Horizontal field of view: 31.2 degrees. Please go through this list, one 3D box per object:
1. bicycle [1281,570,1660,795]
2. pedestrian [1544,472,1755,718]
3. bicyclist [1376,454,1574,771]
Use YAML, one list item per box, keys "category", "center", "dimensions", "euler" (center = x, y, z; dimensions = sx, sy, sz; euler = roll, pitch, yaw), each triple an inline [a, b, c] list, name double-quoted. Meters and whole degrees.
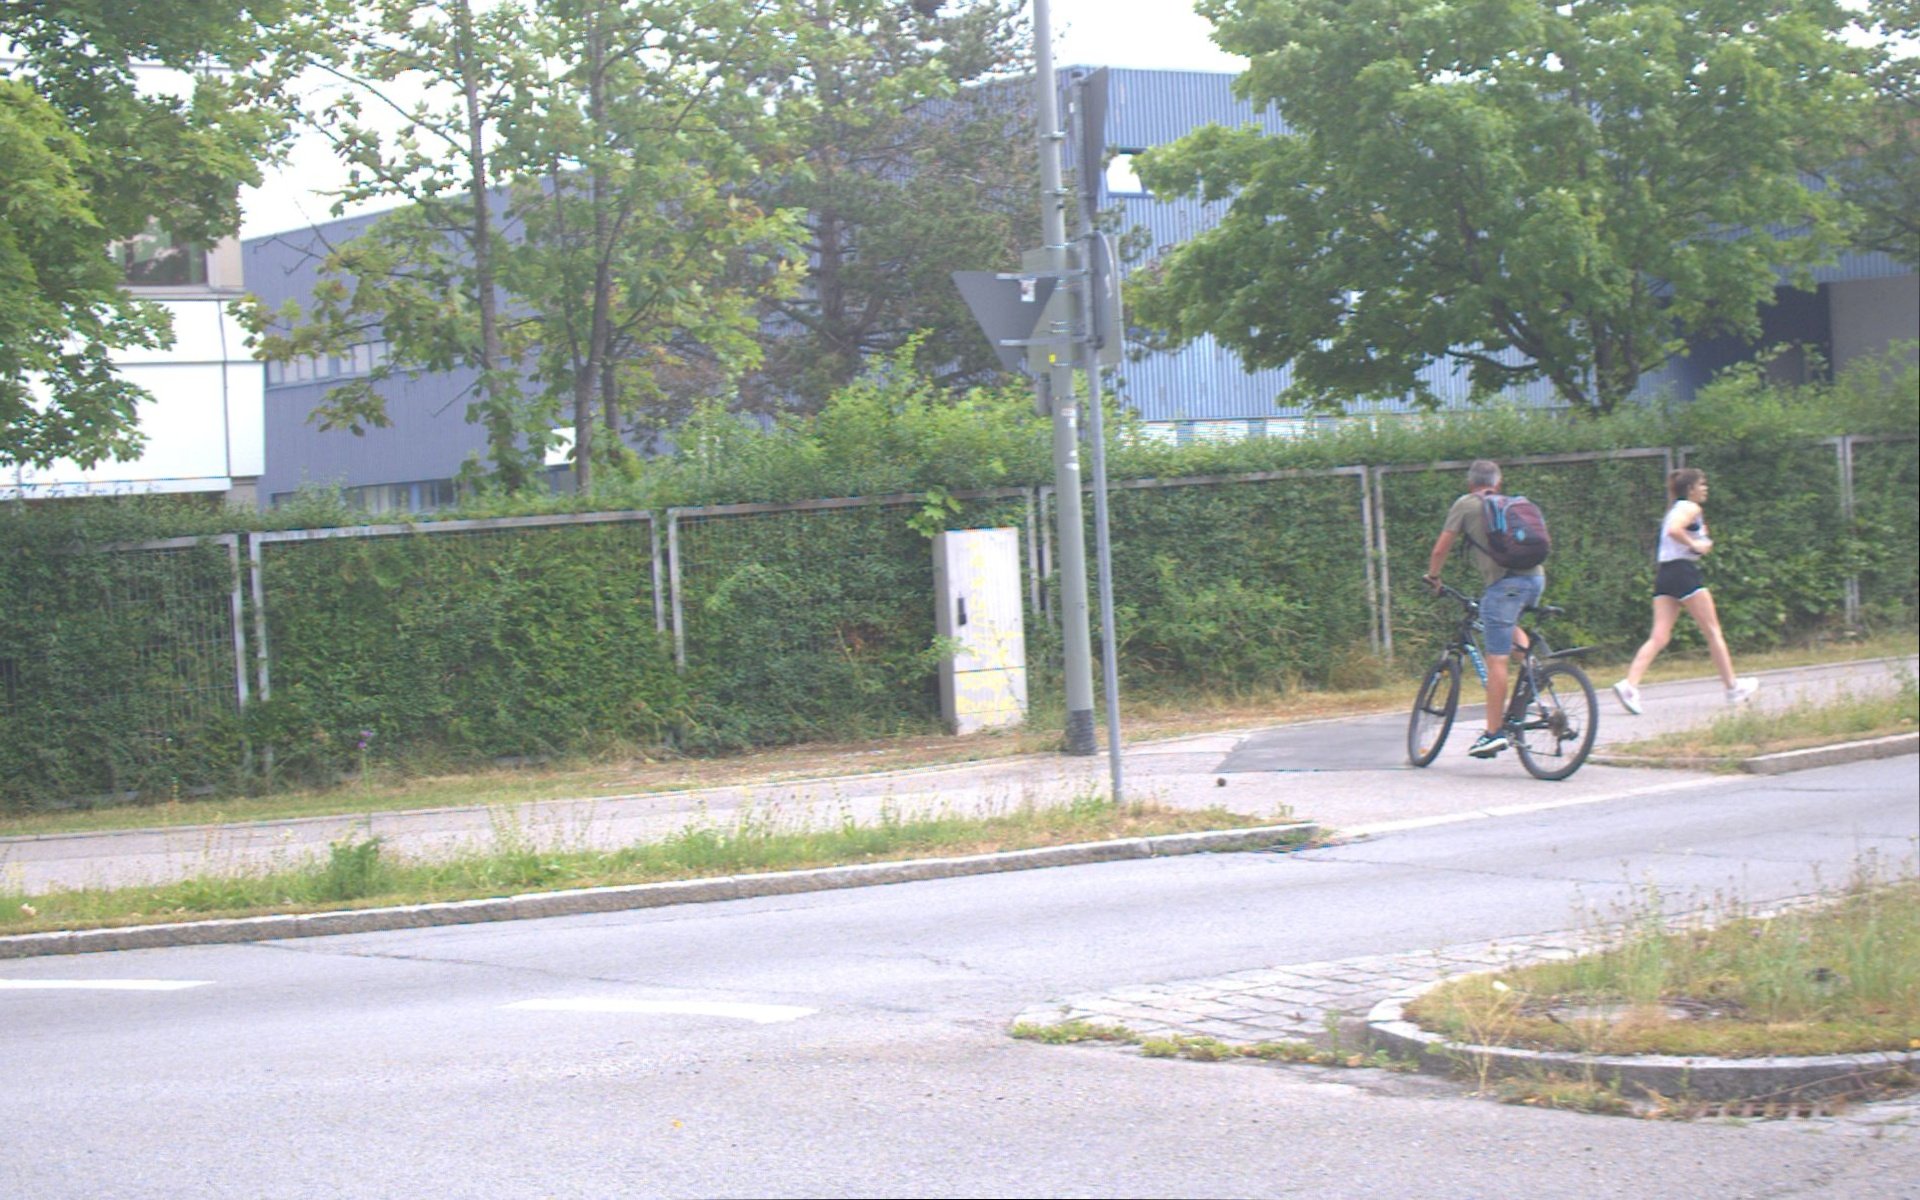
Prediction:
- category: "bicycle"
  center: [2.832, 0.422, 19.409]
  dimensions: [0.768, 1.085, 2.507]
  euler: [-3, 3, -27]
- category: "pedestrian"
  center: [4.552, -0.040, 22.688]
  dimensions: [1.042, 1.539, 0.787]
  euler: [-4, 2, -32]
- category: "bicyclist"
  center: [2.888, 0.047, 19.321]
  dimensions: [0.657, 1.716, 0.919]
  euler: [-3, 3, -27]
